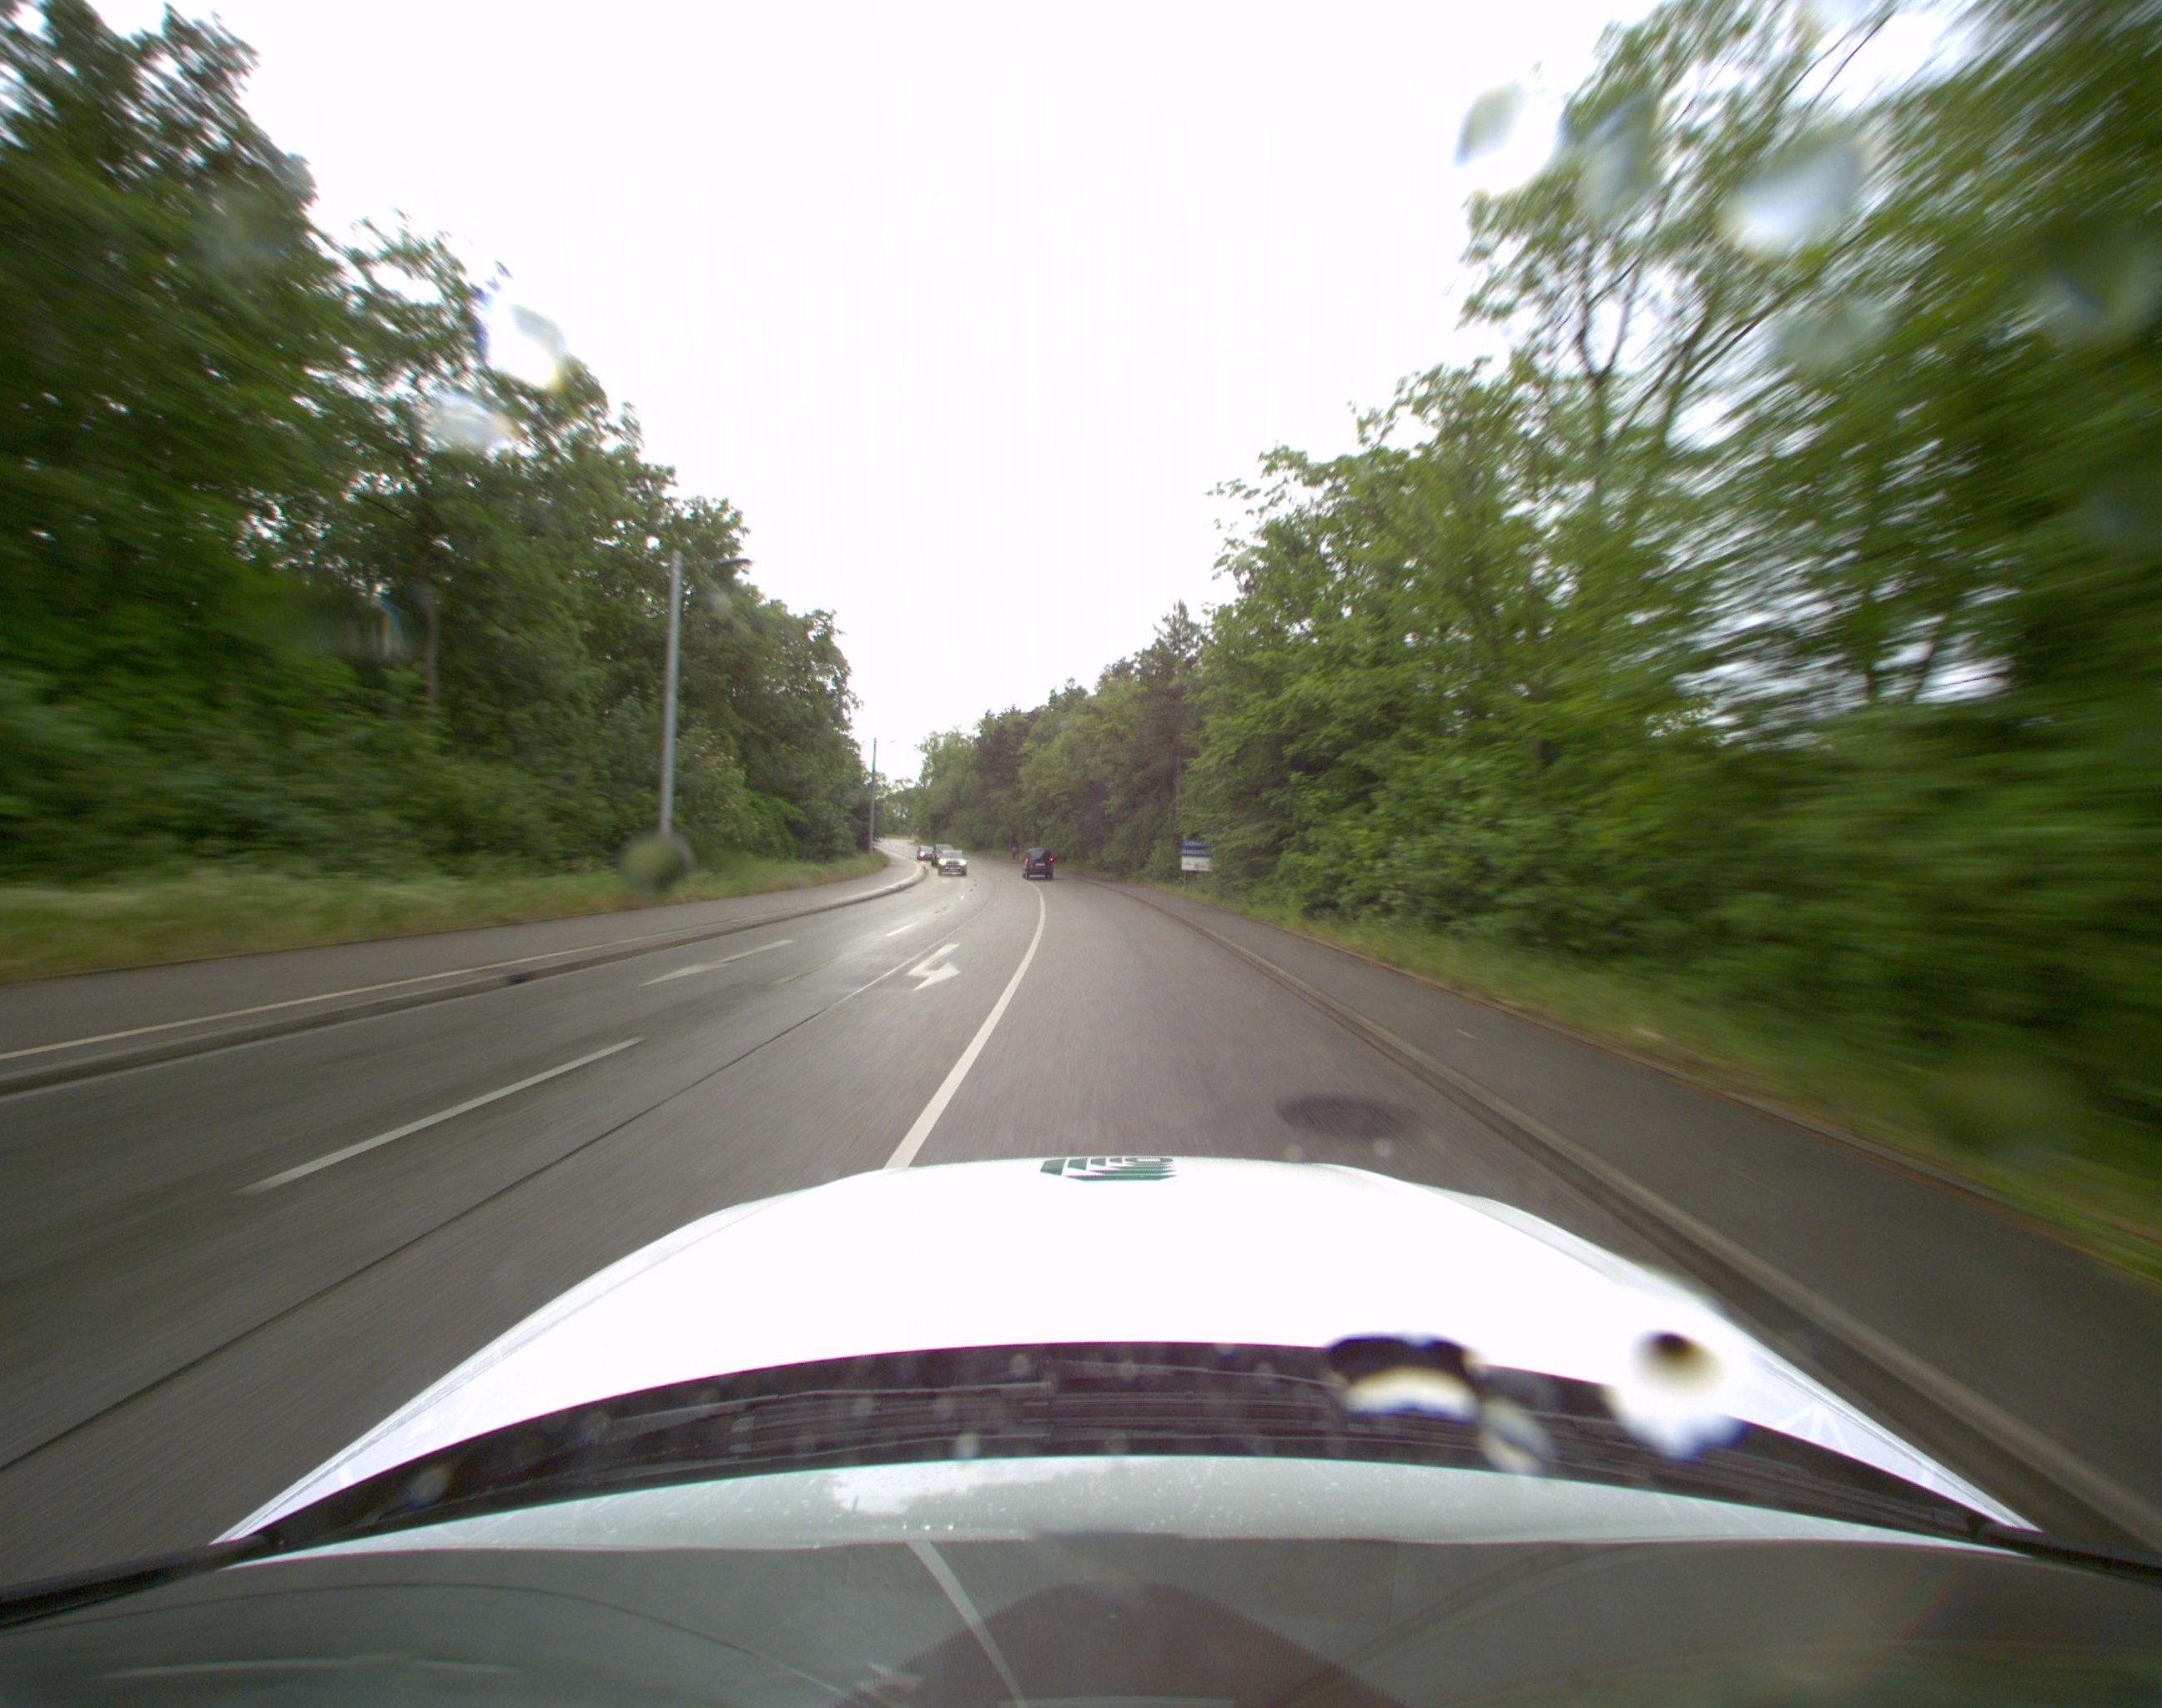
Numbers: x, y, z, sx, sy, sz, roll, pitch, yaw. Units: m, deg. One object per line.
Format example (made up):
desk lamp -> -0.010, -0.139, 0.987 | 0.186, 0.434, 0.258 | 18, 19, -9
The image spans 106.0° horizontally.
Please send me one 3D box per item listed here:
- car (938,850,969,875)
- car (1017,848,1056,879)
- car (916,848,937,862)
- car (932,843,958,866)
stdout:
car -> -8.696, 0.565, 55.818 | 1.806, 1.595, 4.509 | 1, 0, -6
car -> -2.757, 0.531, 49.745 | 1.828, 1.794, 3.985 | -1, 0, -11
car -> -16.271, 0.120, 85.415 | 1.831, 1.440, 3.978 | 1, 0, -16
car -> -11.767, 0.008, 70.310 | 1.830, 1.843, 4.688 | -2, 1, -14
